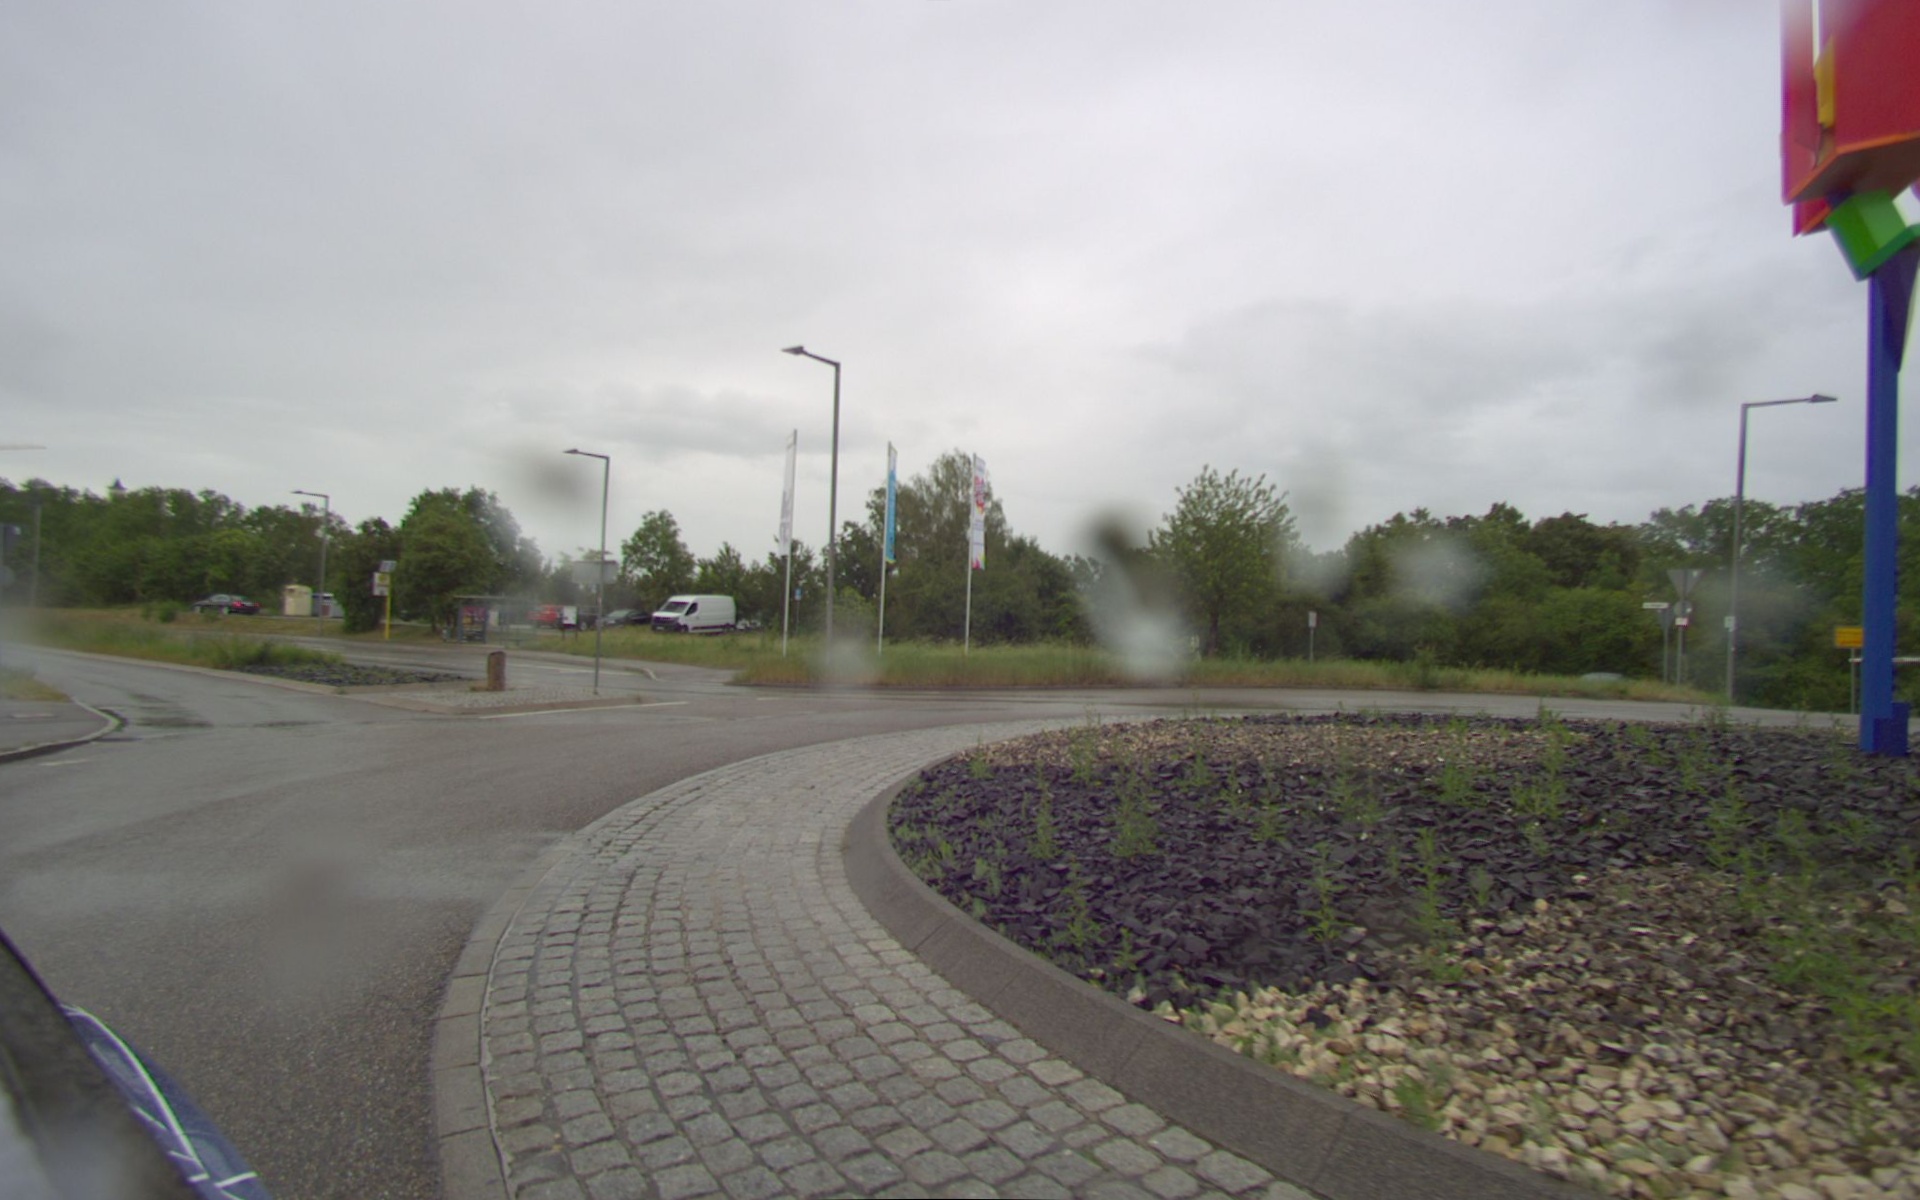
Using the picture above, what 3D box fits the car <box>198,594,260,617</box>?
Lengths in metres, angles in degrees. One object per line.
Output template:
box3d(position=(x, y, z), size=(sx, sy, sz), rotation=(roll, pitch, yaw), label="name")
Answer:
box3d(position=(-52.071, 0.404, 72.056), size=(4.517, 1.580, 1.682), rotation=(0, 0, 26), label="car")

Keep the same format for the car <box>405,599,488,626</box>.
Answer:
box3d(position=(-34.265, 0.845, 67.604), size=(1.994, 1.706, 4.679), rotation=(1, -1, 26), label="car")

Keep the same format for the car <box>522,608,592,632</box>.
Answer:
box3d(position=(-26.089, 1.317, 65.643), size=(1.839, 1.480, 3.963), rotation=(1, -2, 27), label="car")

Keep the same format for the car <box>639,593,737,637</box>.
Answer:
box3d(position=(-16.306, 0.912, 61.090), size=(2.125, 2.415, 6.526), rotation=(2, 0, 23), label="car")

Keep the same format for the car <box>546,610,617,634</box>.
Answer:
box3d(position=(-23.695, 1.371, 63.466), size=(1.840, 1.374, 3.961), rotation=(1, -2, 28), label="car")

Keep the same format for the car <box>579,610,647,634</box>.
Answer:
box3d(position=(-21.451, 1.345, 62.744), size=(1.645, 1.374, 3.961), rotation=(1, 0, 28), label="car")
